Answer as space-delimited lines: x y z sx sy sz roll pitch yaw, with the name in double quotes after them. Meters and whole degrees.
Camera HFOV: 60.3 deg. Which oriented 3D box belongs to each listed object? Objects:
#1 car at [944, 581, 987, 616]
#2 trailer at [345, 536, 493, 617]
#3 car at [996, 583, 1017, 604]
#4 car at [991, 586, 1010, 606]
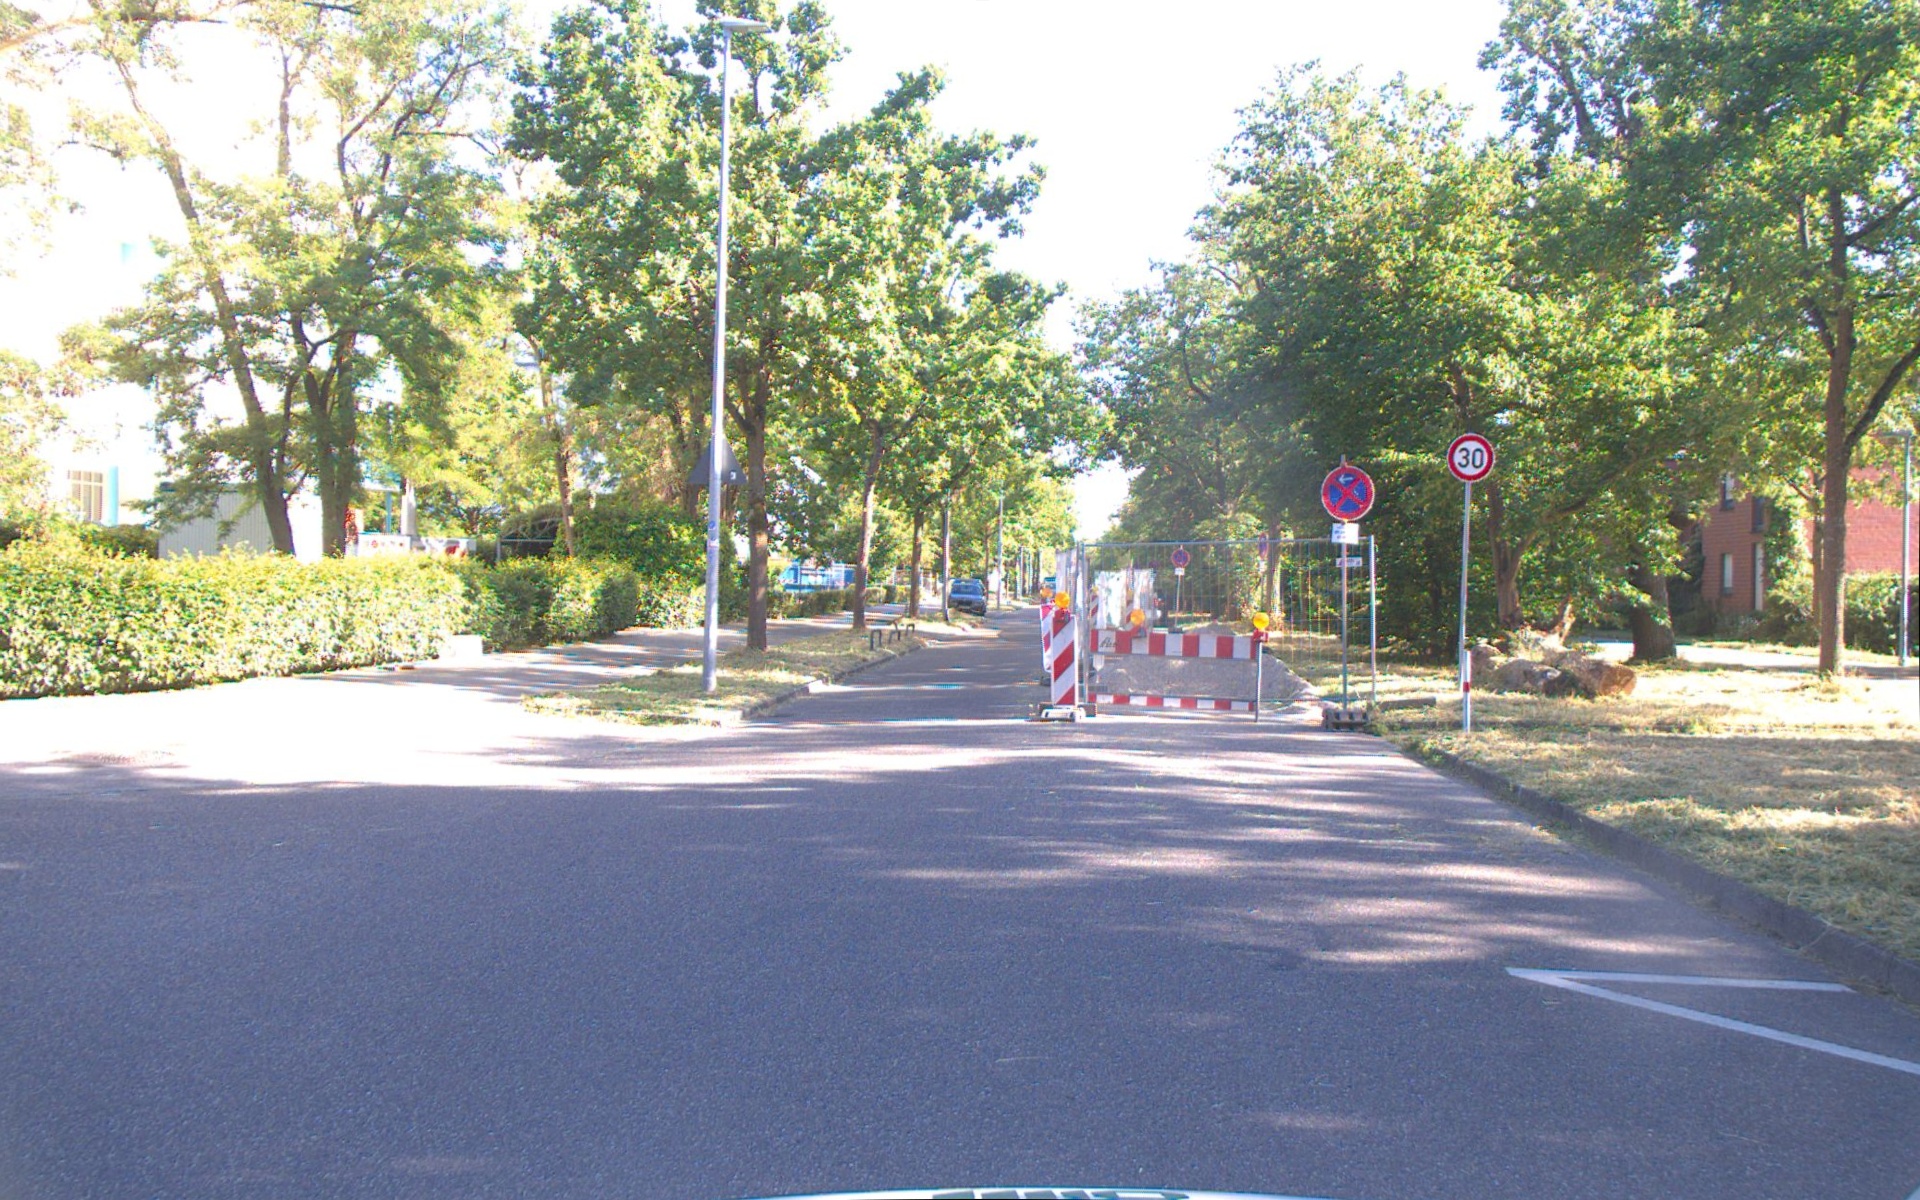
0.283 -0.085 74.038 1.714 1.504 3.838 1 1 3 "car"
-14.830 -0.641 45.603 1.934 2.078 4.434 1 1 11 "trailer"
3.082 -0.438 109.088 1.333 1.325 3.482 2 0 2 "car"
2.985 -0.285 120.854 1.333 1.325 3.482 2 0 2 "car"
